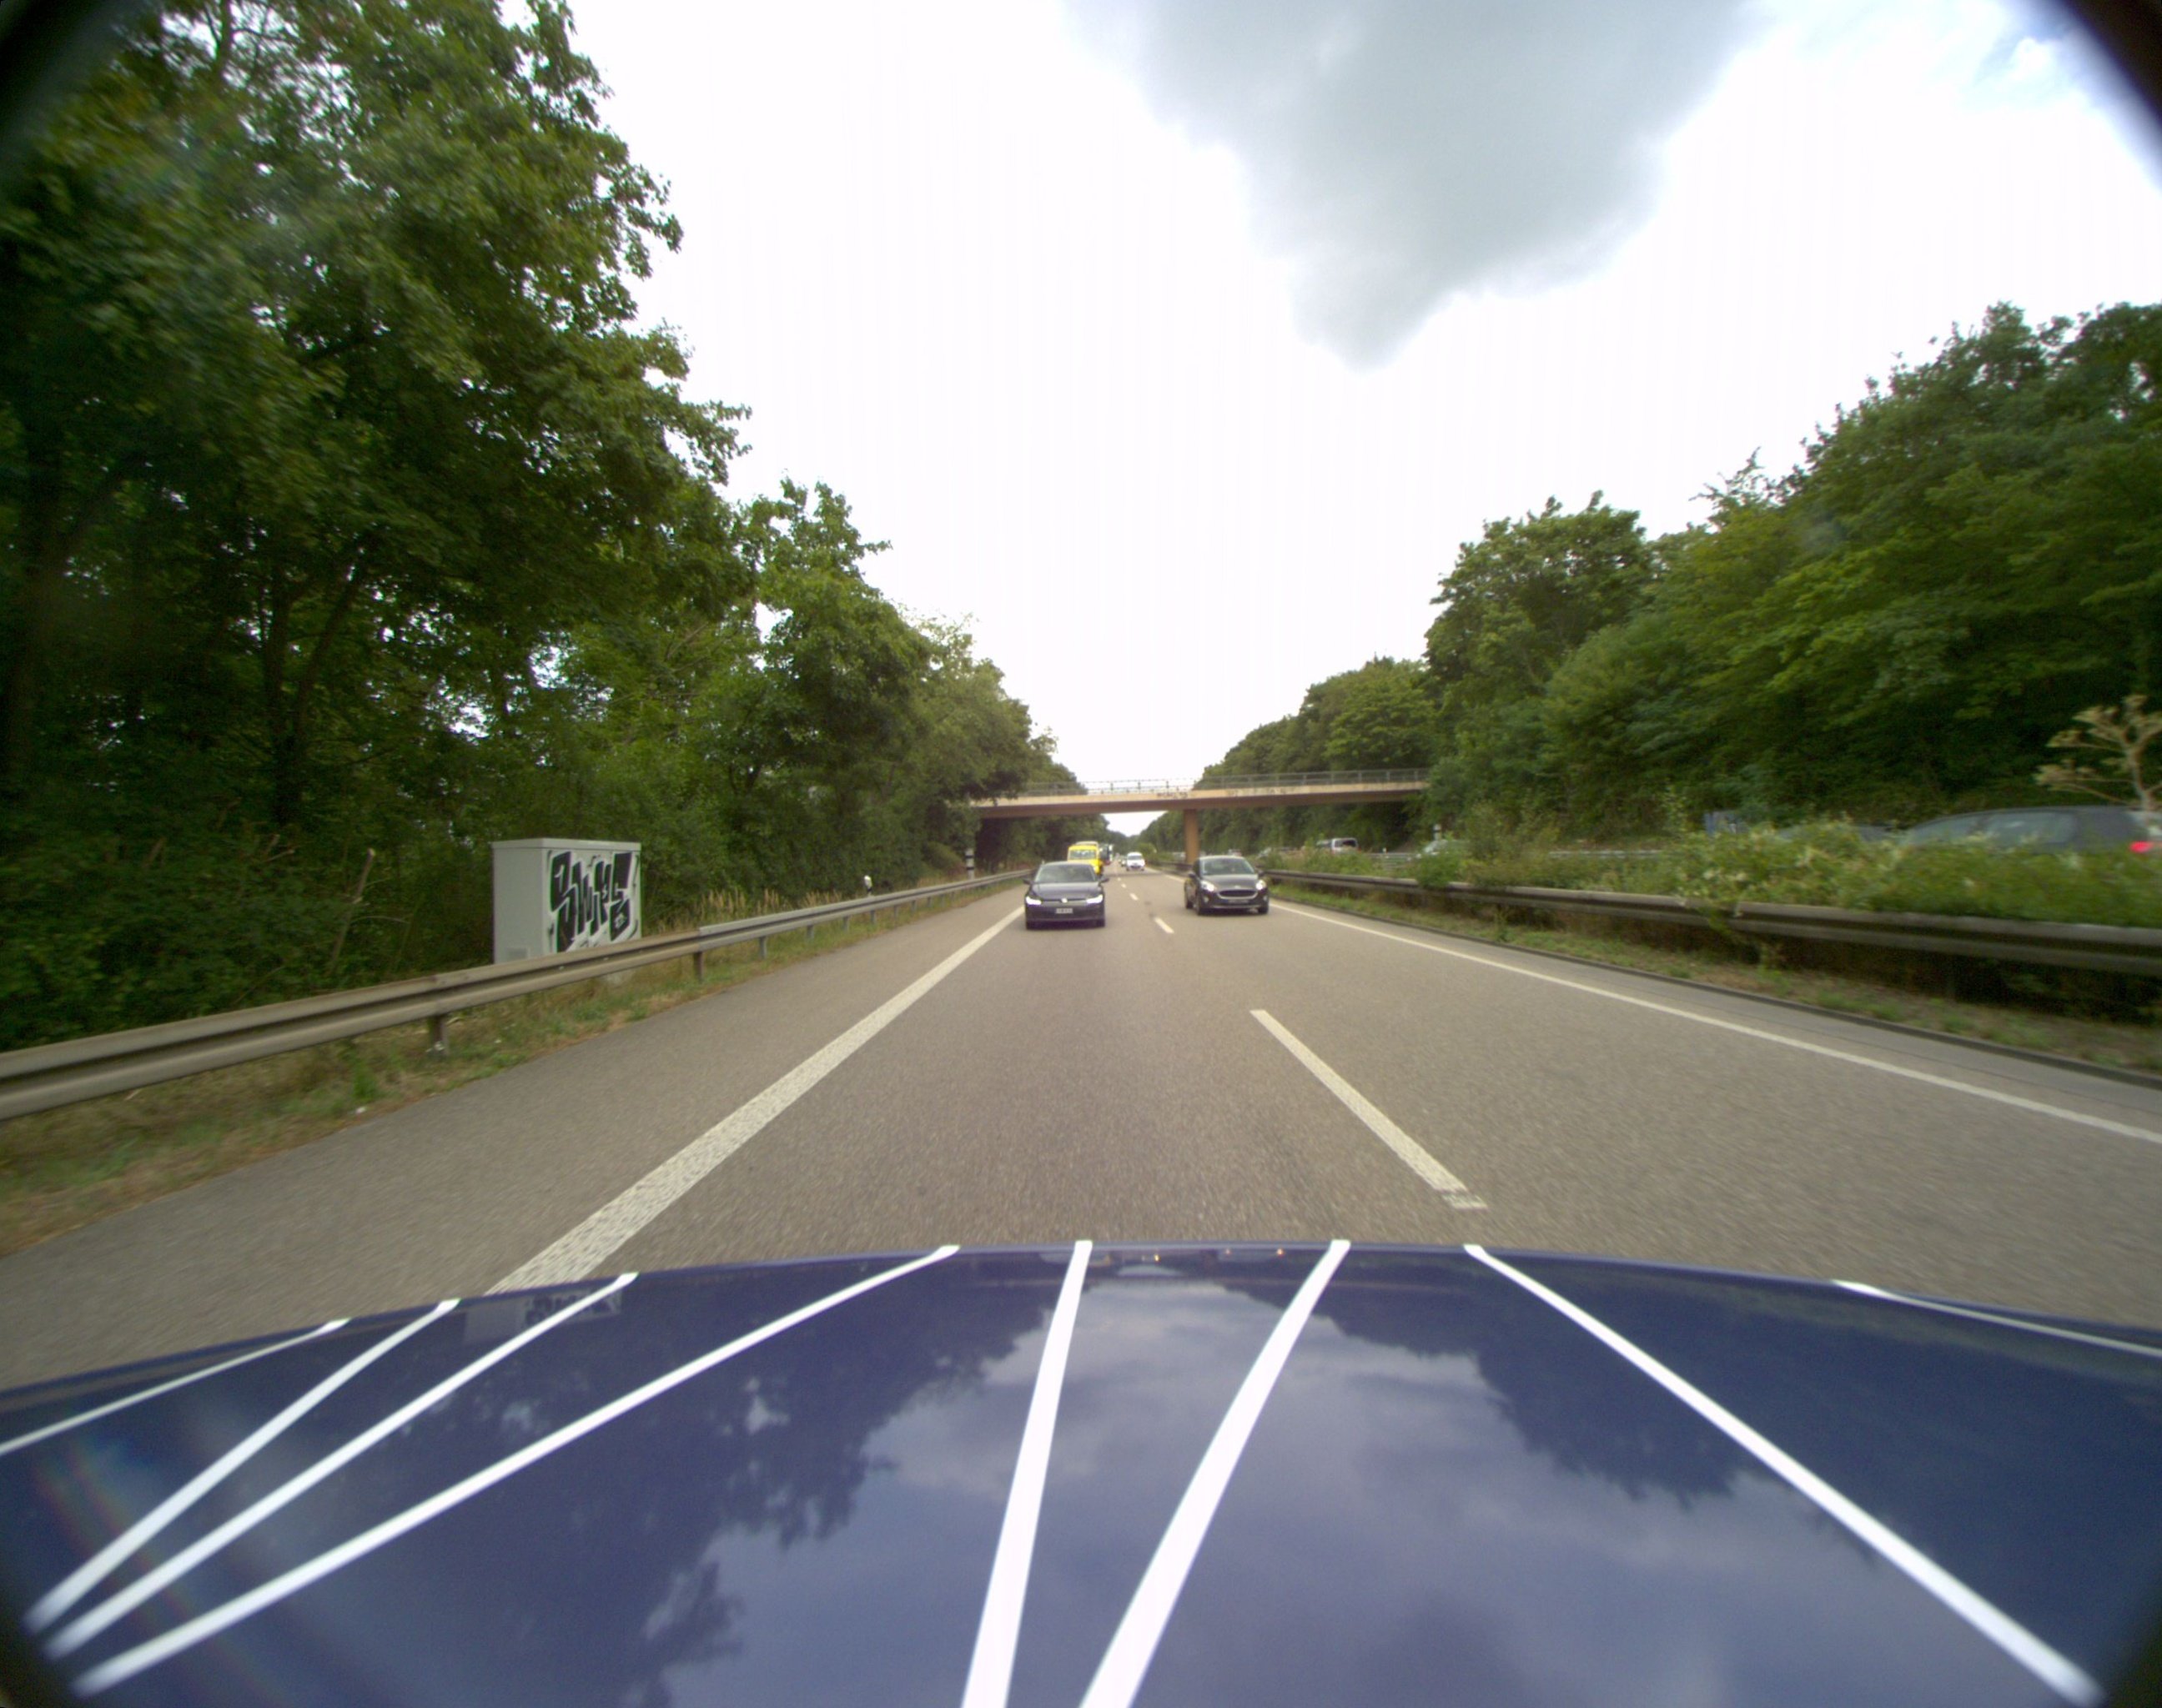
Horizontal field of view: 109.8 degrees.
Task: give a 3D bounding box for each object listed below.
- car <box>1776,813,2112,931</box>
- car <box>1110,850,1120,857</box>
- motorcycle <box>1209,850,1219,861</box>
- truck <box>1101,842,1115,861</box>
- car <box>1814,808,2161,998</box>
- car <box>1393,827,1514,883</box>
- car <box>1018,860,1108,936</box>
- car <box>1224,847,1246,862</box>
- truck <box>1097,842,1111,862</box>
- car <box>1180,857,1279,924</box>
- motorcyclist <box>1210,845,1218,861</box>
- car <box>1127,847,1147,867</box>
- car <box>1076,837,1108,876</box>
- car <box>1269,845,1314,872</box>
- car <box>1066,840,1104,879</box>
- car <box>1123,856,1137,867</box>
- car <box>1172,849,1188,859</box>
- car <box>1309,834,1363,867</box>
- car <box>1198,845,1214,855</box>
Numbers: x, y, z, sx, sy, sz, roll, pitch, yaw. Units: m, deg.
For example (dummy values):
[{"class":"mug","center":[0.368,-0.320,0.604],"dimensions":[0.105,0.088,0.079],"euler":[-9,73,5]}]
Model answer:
[{"class":"car","center":[15.364,0.268,13.900],"dimensions":[1.897,1.815,3.784],"euler":[-2,1,1]},{"class":"car","center":[7.228,-0.187,159.919],"dimensions":[1.998,1.422,4.000],"euler":[-2,1,3]},{"class":"motorcycle","center":[13.876,0.121,79.276],"dimensions":[0.703,1.061,2.196],"euler":[-2,1,1]},{"class":"truck","center":[6.567,-0.586,184.360],"dimensions":[3.099,4.462,12.208],"euler":[-2,1,1]},{"class":"car","center":[11.426,0.464,9.420],"dimensions":[1.463,1.932,3.363],"euler":[-2,1,1]},{"class":"car","center":[11.825,0.022,24.438],"dimensions":[1.998,1.601,4.000],"euler":[-2,1,1]},{"class":"car","center":[-0.328,0.924,17.909],"dimensions":[1.800,1.398,4.639],"euler":[-2,1,1]},{"class":"car","center":[18.645,0.054,92.134],"dimensions":[1.898,1.642,4.639],"euler":[-2,1,2]},{"class":"truck","center":[4.222,-0.419,139.409],"dimensions":[2.548,3.564,6.456],"euler":[-2,1,1]},{"class":"car","center":[3.771,0.868,20.088],"dimensions":[1.830,1.449,4.639],"euler":[-2,1,2]},{"class":"motorcyclist","center":[13.860,-0.107,79.183],"dimensions":[0.682,1.540,0.846],"euler":[-3,1,1]},{"class":"car","center":[5.714,0.271,78.046],"dimensions":[1.821,1.993,4.423],"euler":[-2,1,1]},{"class":"car","center":[0.744,0.146,57.806],"dimensions":[2.207,2.732,6.166],"euler":[-2,1,-1]},{"class":"car","center":[13.555,0.247,49.168],"dimensions":[1.807,1.581,4.181],"euler":[-2,1,1]},{"class":"car","center":[0.223,0.303,49.080],"dimensions":[2.248,2.334,5.223],"euler":[-2,1,-1]},{"class":"car","center":[7.054,1.080,110.290],"dimensions":[1.772,1.416,4.198],"euler":[-2,1,1]},{"class":"car","center":[13.904,-0.046,106.650],"dimensions":[1.693,1.372,4.936],"euler":[-2,1,2]},{"class":"car","center":[16.645,-0.221,49.861],"dimensions":[1.800,2.002,5.301],"euler":[-2,1,1]},{"class":"car","center":[20.139,-0.655,122.742],"dimensions":[1.898,1.677,4.639],"euler":[-2,1,2]}]
